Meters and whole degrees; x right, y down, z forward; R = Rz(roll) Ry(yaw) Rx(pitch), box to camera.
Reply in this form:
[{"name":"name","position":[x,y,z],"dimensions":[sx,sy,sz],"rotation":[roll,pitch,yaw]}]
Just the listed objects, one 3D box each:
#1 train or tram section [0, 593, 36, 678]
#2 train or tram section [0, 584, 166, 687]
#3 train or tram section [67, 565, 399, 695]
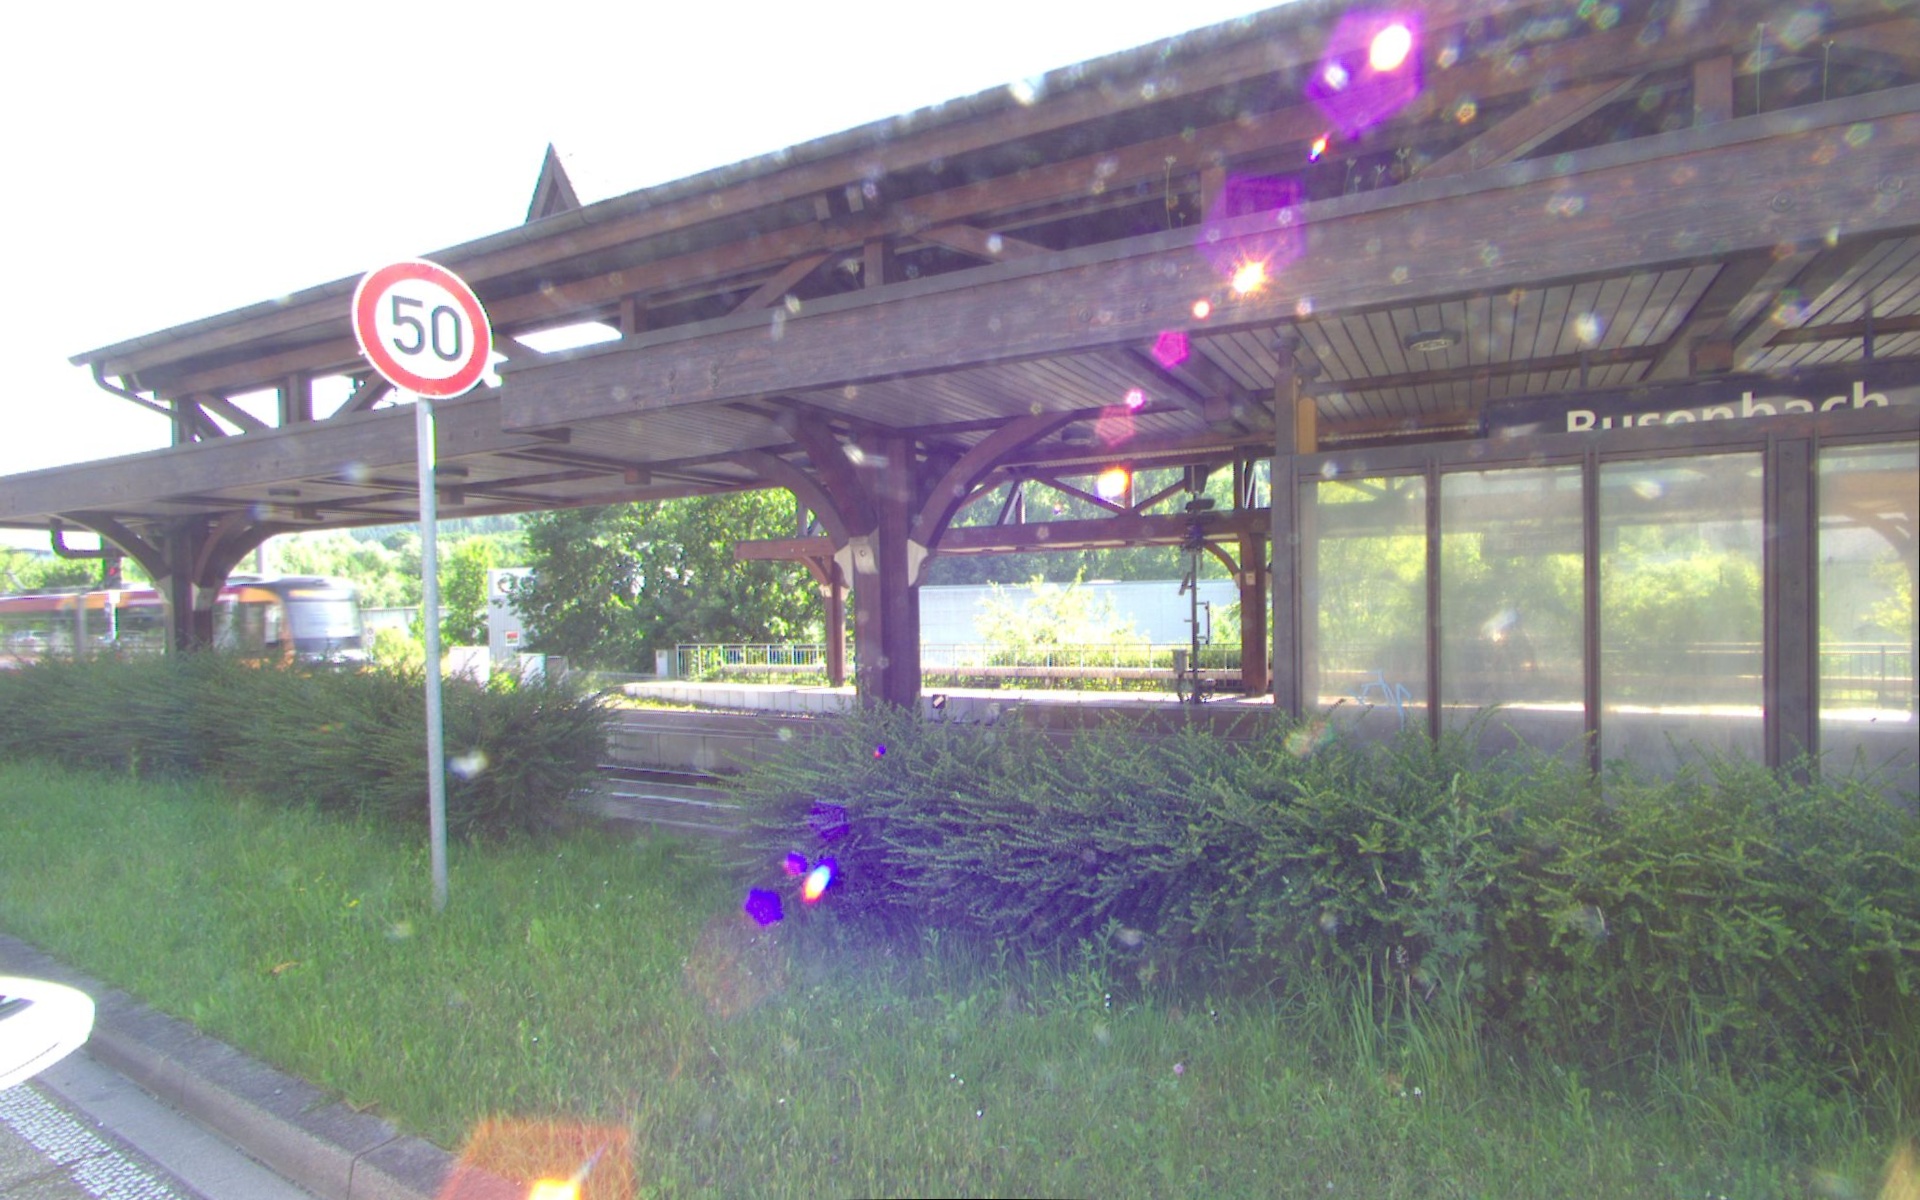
[{"name":"train or tram section","position":[-44.085,1.431,43.247],"dimensions":[11.867,3.407,2.753],"rotation":[0,-2,30]},{"name":"train or tram section","position":[-34.131,1.328,37.475],"dimensions":[11.870,3.406,2.784],"rotation":[-1,-2,31]},{"name":"train or tram section","position":[-22.956,0.899,31.087],"dimensions":[14.139,3.408,2.853],"rotation":[-1,-1,30]}]
